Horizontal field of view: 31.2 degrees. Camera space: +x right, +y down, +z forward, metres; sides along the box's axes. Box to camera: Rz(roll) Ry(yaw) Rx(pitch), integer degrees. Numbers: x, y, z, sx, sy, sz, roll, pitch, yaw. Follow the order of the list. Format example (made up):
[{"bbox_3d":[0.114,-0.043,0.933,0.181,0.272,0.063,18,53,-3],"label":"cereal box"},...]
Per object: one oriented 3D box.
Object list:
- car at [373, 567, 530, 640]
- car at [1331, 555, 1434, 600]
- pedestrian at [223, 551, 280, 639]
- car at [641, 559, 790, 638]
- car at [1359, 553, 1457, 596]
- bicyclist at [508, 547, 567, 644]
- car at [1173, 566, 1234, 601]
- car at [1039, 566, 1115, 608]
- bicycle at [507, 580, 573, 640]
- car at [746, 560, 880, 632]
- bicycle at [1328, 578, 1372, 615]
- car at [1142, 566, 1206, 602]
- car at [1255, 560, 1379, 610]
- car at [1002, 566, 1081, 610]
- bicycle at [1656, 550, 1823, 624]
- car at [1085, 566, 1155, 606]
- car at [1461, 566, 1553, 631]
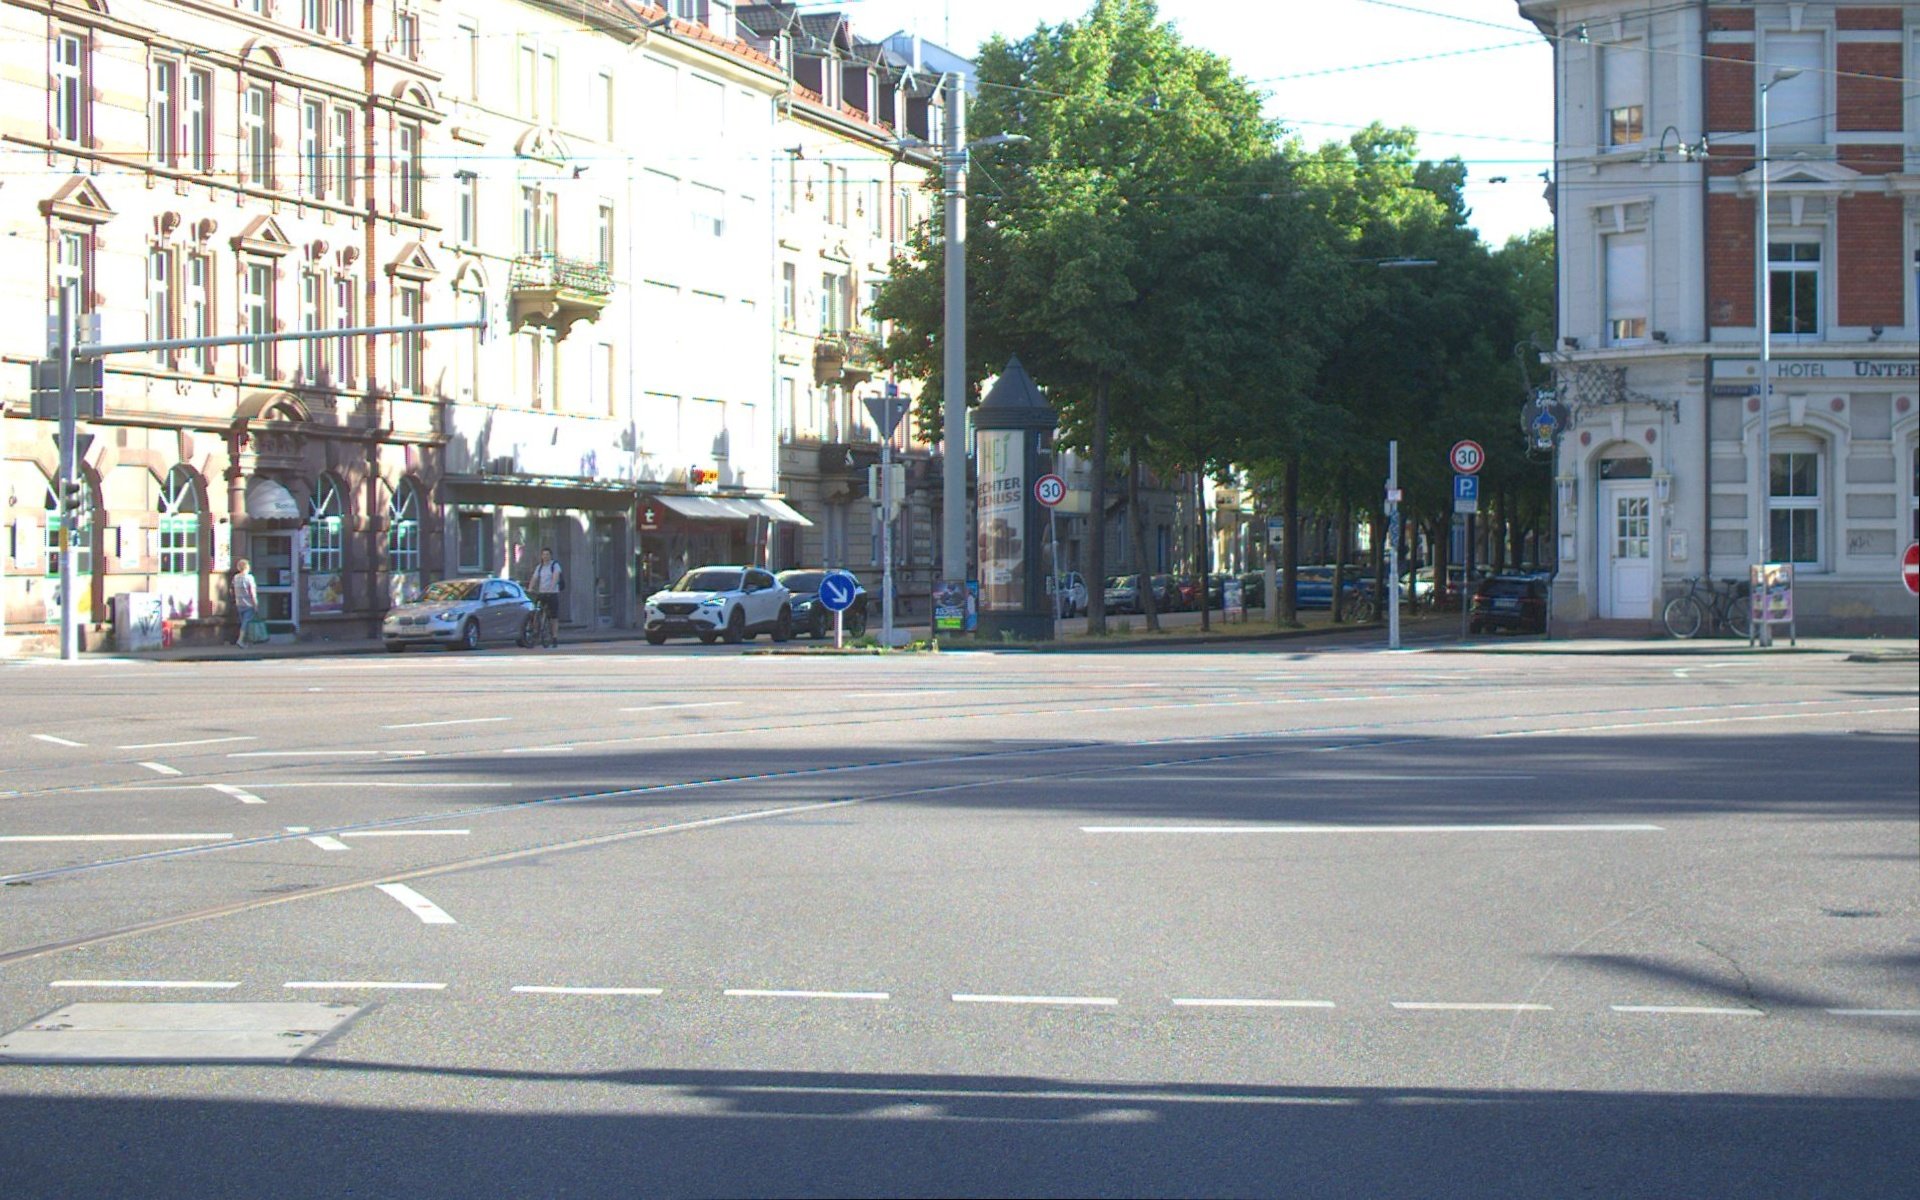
[{"bbox_3d":[-9.863,0.053,66.909,1.678,1.349,3.588,0,1,17],"label":"car"},{"bbox_3d":[15.725,-0.851,128.031,3.582,1.642,1.681,0,1,17],"label":"car"},{"bbox_3d":[-13.581,-0.108,65.916,0.776,1.664,0.830,1,0,15],"label":"pedestrian"},{"bbox_3d":[-4.752,-0.055,67.313,1.678,1.478,3.768,0,1,17],"label":"car"},{"bbox_3d":[17.399,-1.005,133.505,3.582,1.642,1.681,0,1,17],"label":"car"},{"bbox_3d":[-8.005,-0.090,65.137,0.779,1.797,1.055,1,0,14],"label":"bicyclist"},{"bbox_3d":[9.624,-0.658,135.776,1.678,1.349,3.588,0,1,17],"label":"car"},{"bbox_3d":[3.945,-0.447,115.478,1.678,1.349,3.588,0,1,17],"label":"car"},{"bbox_3d":[-7.969,0.182,65.264,0.702,1.114,1.634,1,1,13],"label":"bicycle"},{"bbox_3d":[-3.110,-0.105,73.614,1.678,1.478,3.945,0,1,17],"label":"car"},{"bbox_3d":[11.272,-0.107,99.482,0.636,1.018,1.847,1,1,-14],"label":"bicycle"},{"bbox_3d":[8.152,-0.619,130.746,1.678,1.349,3.588,0,1,17],"label":"car"},{"bbox_3d":[12.003,-0.513,115.676,3.905,1.642,1.681,0,1,17],"label":"car"},{"bbox_3d":[2.647,-0.404,111.321,1.678,1.349,3.588,0,1,17],"label":"car"},{"bbox_3d":[12.979,-0.210,57.274,2.554,1.170,0.819,1,0,-3],"label":"bicycle"},{"bbox_3d":[5.716,-0.507,122.440,1.678,1.349,3.588,0,1,17],"label":"car"},{"bbox_3d":[13.160,-0.060,82.572,1.678,1.478,3.945,0,1,17],"label":"car"}]
